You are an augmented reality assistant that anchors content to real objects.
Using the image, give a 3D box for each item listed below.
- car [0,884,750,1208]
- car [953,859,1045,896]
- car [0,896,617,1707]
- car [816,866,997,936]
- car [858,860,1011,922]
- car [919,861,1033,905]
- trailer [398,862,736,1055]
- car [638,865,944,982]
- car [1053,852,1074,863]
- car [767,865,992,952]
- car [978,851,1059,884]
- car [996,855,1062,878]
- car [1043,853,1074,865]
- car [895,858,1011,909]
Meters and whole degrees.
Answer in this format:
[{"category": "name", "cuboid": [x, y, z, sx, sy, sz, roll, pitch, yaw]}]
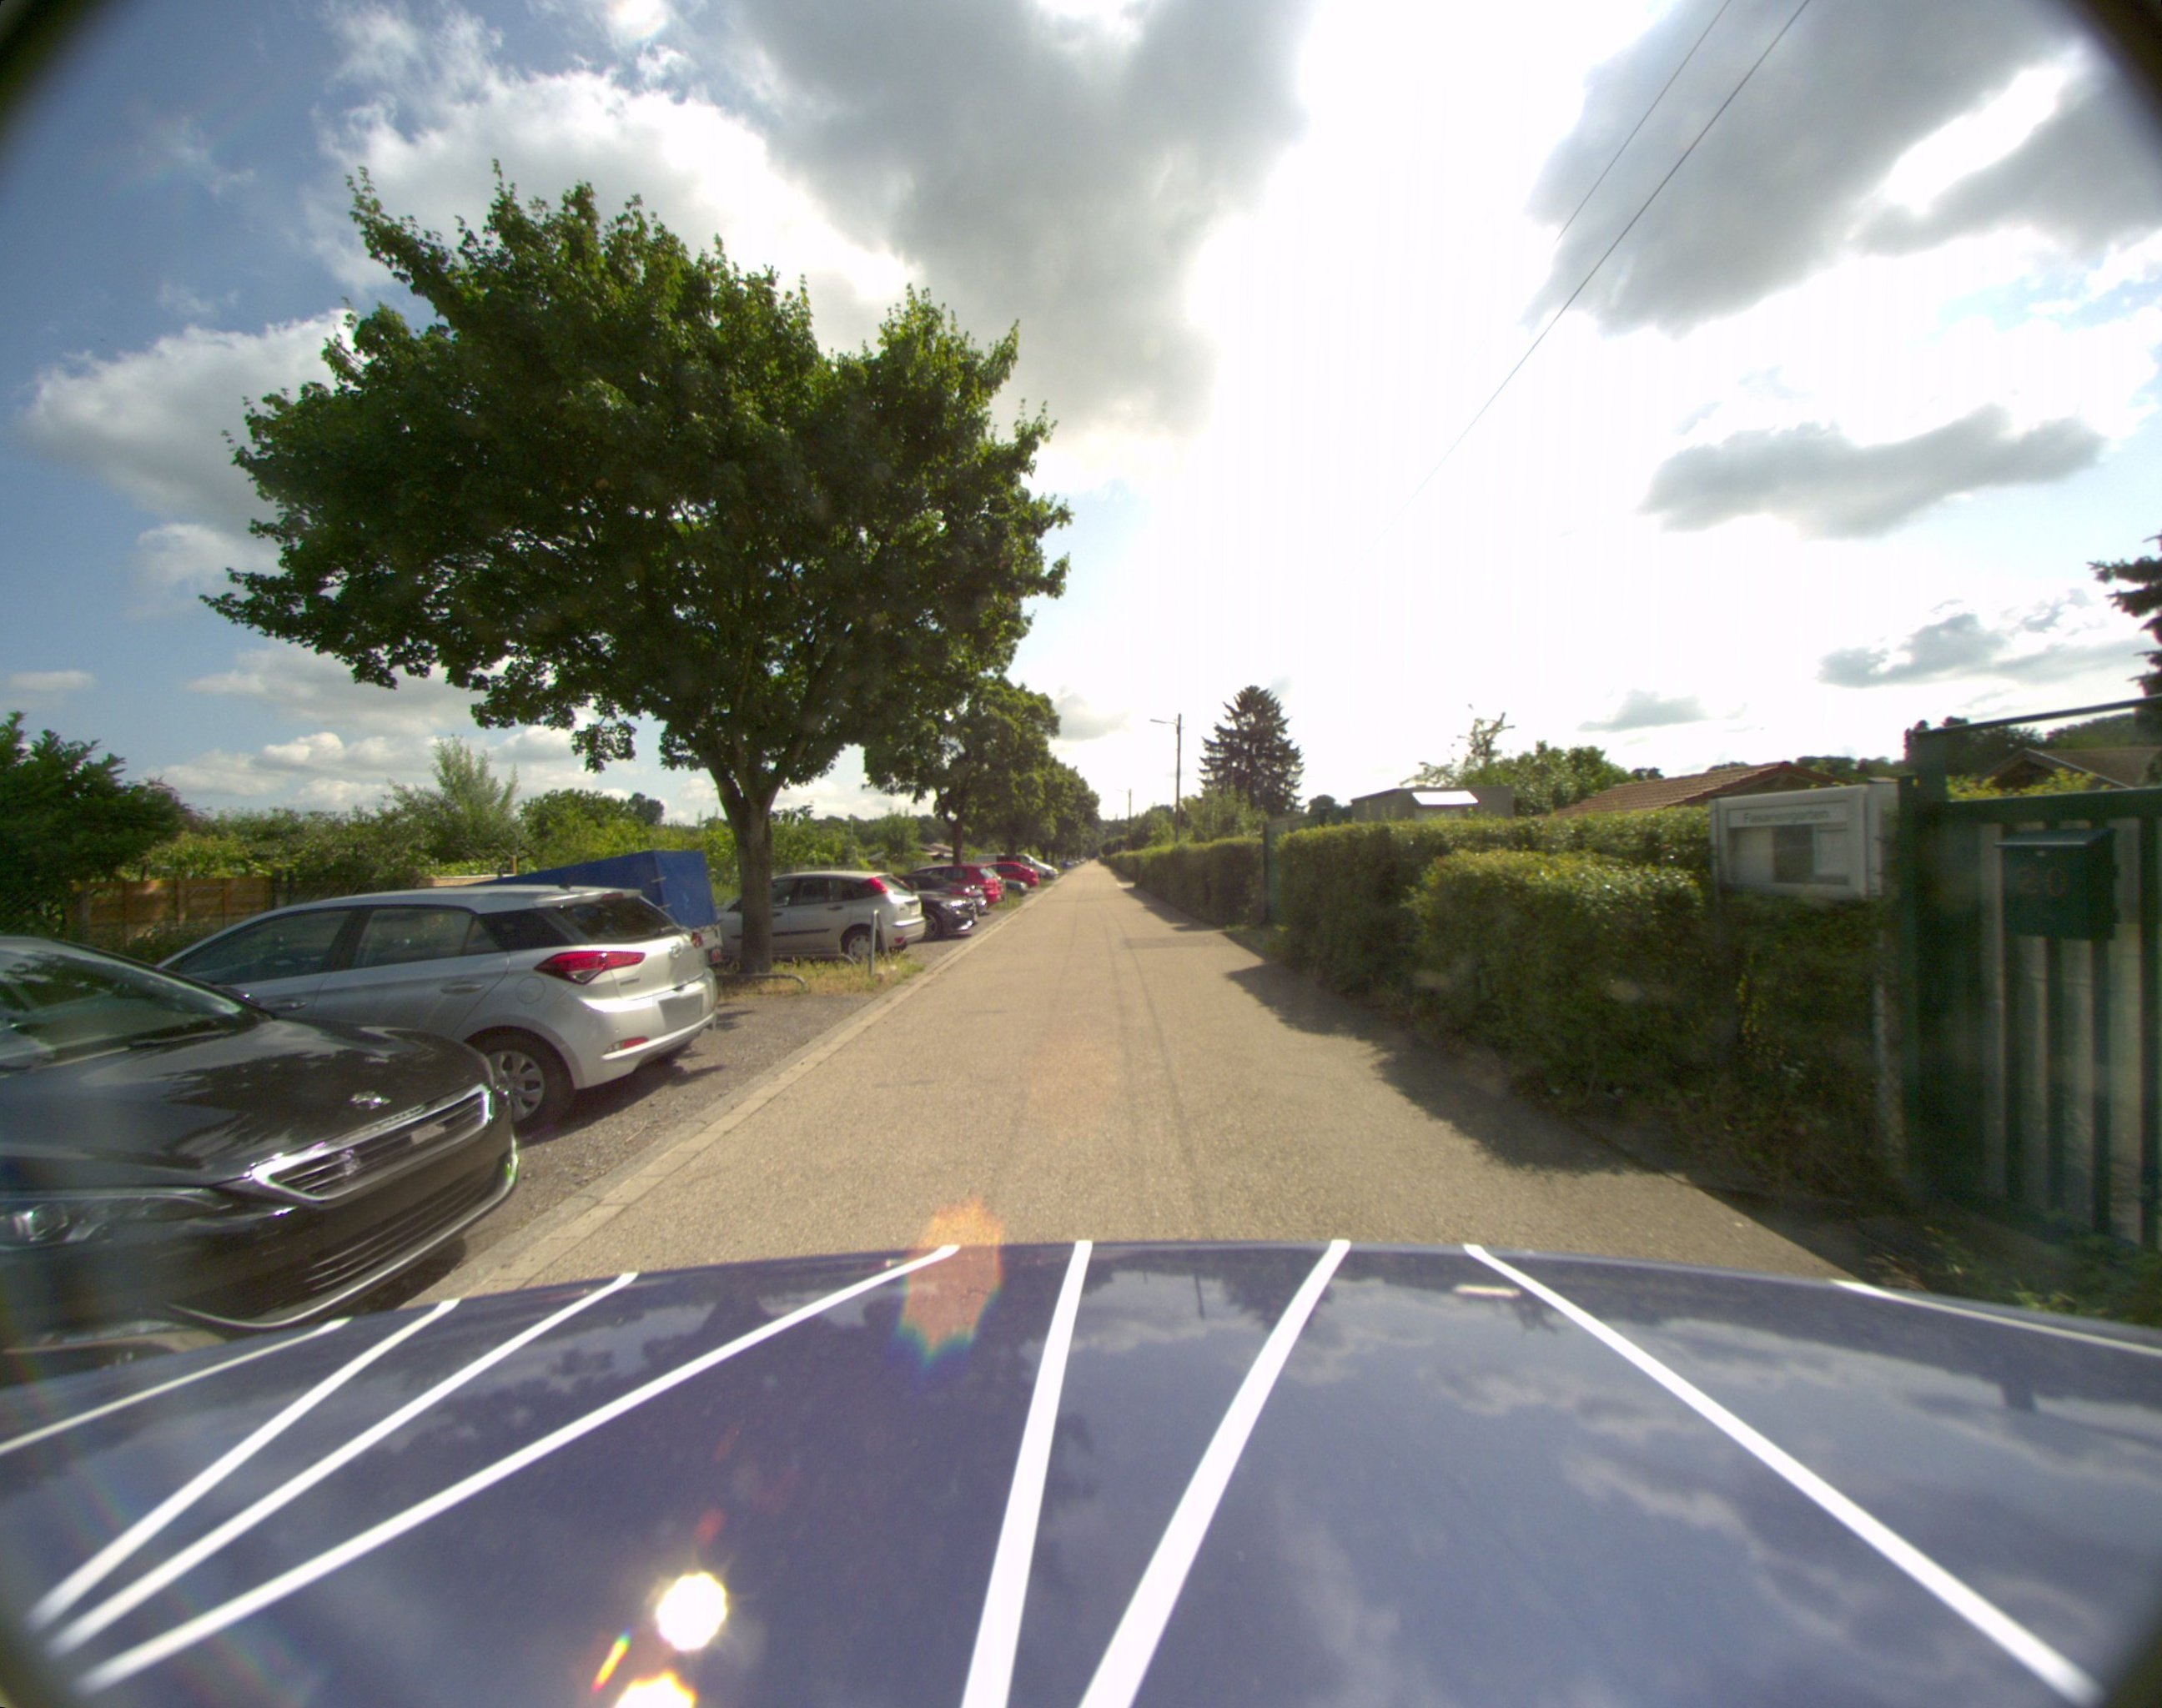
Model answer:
[{"category": "car", "cuboid": [-4.551, 1.106, 5.149, 3.733, 1.531, 1.849, -3, 1, -2]}, {"category": "car", "cuboid": [-3.971, 1.133, 37.298, 4.193, 1.495, 1.878, -3, 1, 2]}, {"category": "car", "cuboid": [-4.340, 1.104, 2.500, 4.313, 1.584, 2.000, -3, 1, 0]}, {"category": "car", "cuboid": [-4.260, 1.137, 18.999, 3.919, 1.415, 1.958, -3, 1, 4]}, {"category": "car", "cuboid": [-4.239, 1.060, 22.426, 3.996, 1.511, 1.855, -3, 1, 4]}, {"category": "car", "cuboid": [-4.083, 1.131, 30.076, 4.250, 1.420, 1.907, -3, 1, -3]}, {"category": "trailer", "cuboid": [-5.257, 1.003, 8.042, 2.456, 1.710, 1.518, -3, 0, -3]}, {"category": "car", "cuboid": [-4.507, 1.057, 12.261, 4.073, 1.503, 1.958, -3, 1, 4]}, {"category": "car", "cuboid": [-3.272, 0.673, 143.382, 3.929, 1.740, 2.000, -3, 1, 0]}, {"category": "car", "cuboid": [-4.022, 1.065, 15.721, 4.076, 1.447, 1.869, -3, 1, -1]}, {"category": "car", "cuboid": [-3.631, 0.762, 44.937, 4.646, 1.875, 2.111, -1, 0, -1]}, {"category": "car", "cuboid": [-3.704, 0.865, 54.644, 4.590, 1.457, 1.999, -2, 0, -2]}, {"category": "car", "cuboid": [-3.052, 0.667, 103.454, 4.116, 1.573, 1.781, -1, 0, -1]}, {"category": "car", "cuboid": [-4.523, 1.039, 27.357, 3.773, 1.564, 1.869, -3, 1, 0]}]
